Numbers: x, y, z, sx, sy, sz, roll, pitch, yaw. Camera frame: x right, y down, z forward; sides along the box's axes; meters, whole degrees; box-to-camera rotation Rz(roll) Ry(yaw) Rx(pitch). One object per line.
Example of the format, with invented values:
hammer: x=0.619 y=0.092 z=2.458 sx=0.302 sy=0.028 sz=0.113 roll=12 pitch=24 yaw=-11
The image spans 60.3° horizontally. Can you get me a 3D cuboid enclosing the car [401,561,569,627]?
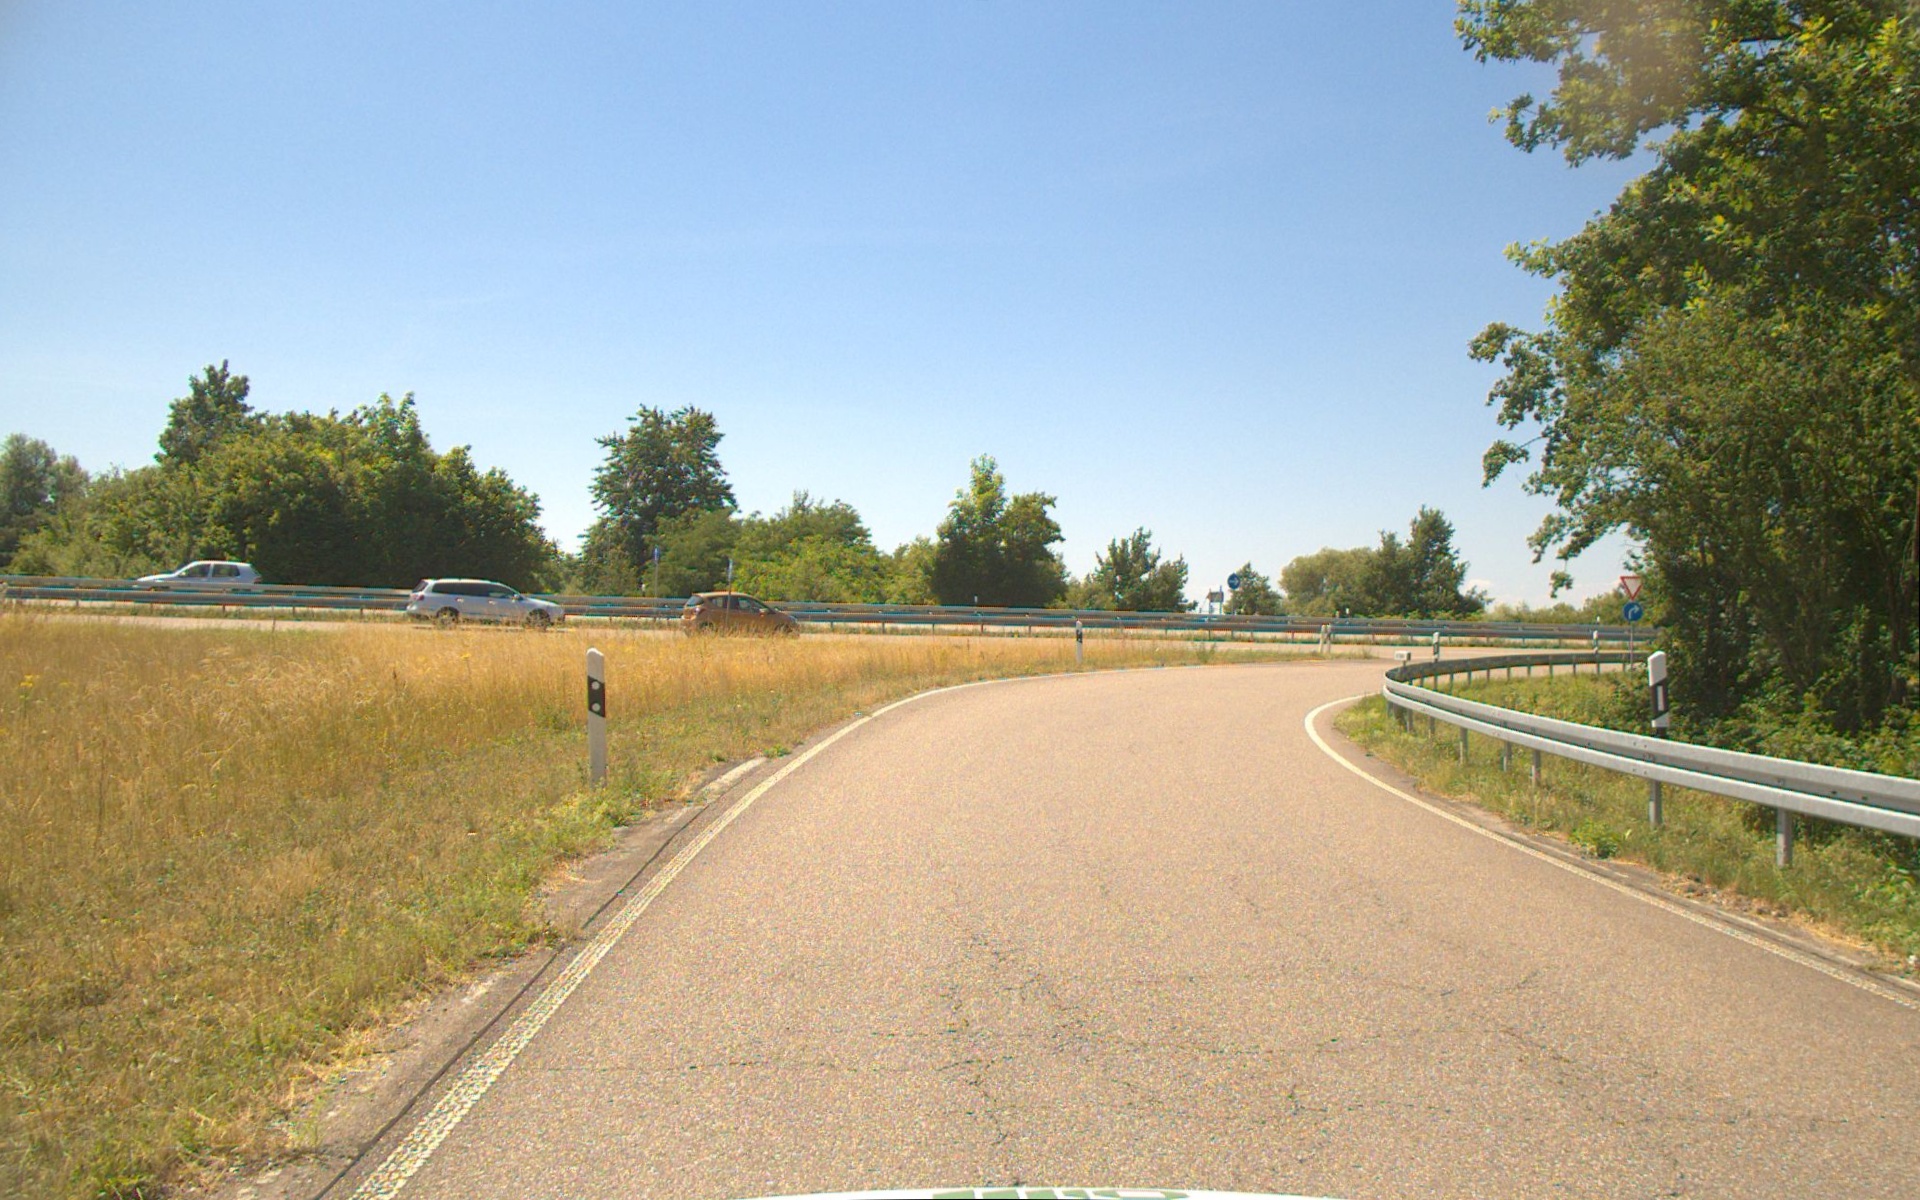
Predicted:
car: x=-14.558 y=-0.145 z=50.688 sx=4.706 sy=1.821 sz=1.985 roll=2 pitch=-2 yaw=-24

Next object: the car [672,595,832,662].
car: x=-6.362 y=0.879 z=50.579 sx=4.454 sy=1.821 sz=1.985 roll=3 pitch=-1 yaw=-24

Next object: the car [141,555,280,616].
car: x=-25.559 y=-0.480 z=56.421 sx=4.163 sy=1.821 sz=1.982 roll=3 pitch=-2 yaw=-27
